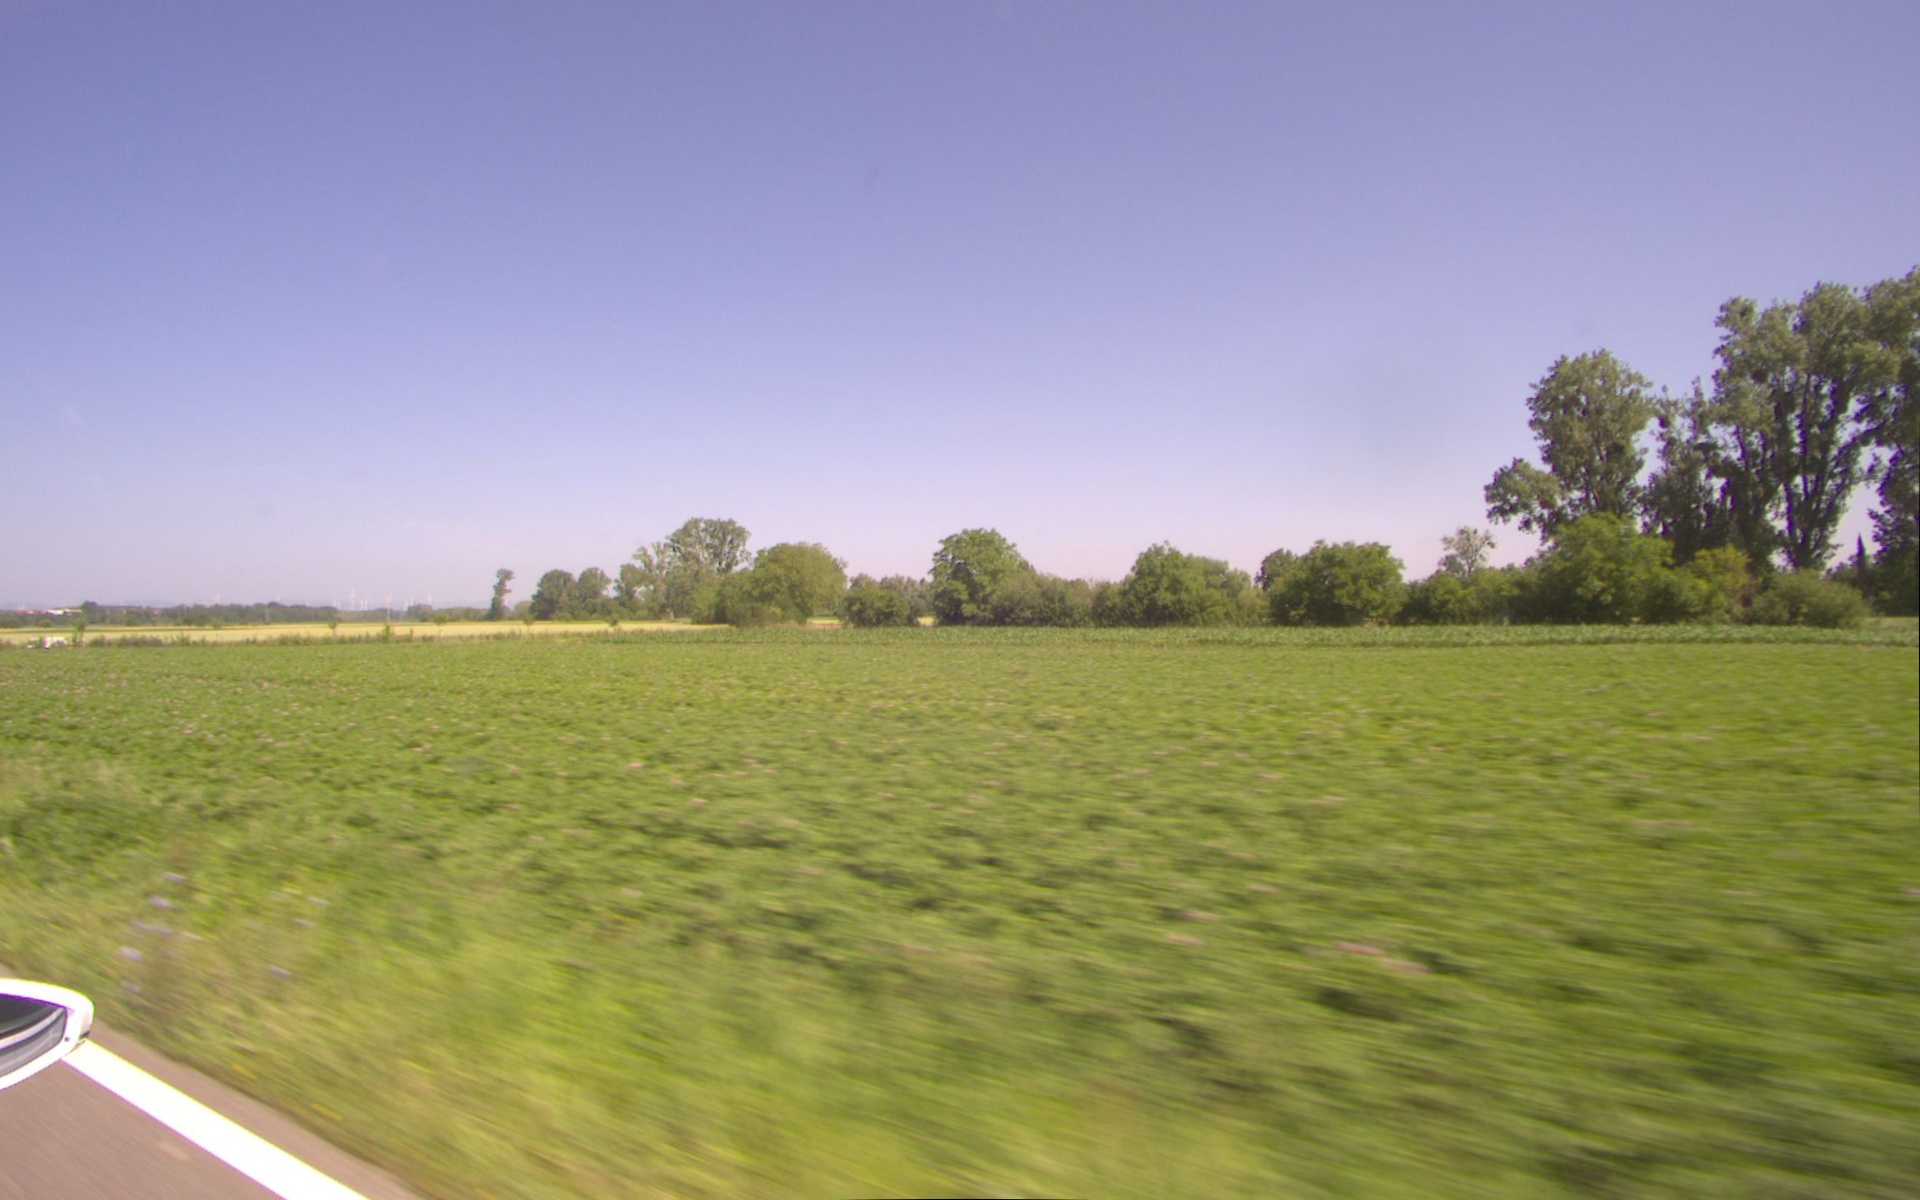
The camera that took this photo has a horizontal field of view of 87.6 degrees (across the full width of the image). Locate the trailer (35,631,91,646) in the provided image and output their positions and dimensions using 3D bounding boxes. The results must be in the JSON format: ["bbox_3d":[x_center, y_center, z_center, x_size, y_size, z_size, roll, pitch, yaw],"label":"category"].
[{"bbox_3d":[-78.228,3.361,87.338,1.646,1.204,3.566,-2,-3,44],"label":"trailer"}]
